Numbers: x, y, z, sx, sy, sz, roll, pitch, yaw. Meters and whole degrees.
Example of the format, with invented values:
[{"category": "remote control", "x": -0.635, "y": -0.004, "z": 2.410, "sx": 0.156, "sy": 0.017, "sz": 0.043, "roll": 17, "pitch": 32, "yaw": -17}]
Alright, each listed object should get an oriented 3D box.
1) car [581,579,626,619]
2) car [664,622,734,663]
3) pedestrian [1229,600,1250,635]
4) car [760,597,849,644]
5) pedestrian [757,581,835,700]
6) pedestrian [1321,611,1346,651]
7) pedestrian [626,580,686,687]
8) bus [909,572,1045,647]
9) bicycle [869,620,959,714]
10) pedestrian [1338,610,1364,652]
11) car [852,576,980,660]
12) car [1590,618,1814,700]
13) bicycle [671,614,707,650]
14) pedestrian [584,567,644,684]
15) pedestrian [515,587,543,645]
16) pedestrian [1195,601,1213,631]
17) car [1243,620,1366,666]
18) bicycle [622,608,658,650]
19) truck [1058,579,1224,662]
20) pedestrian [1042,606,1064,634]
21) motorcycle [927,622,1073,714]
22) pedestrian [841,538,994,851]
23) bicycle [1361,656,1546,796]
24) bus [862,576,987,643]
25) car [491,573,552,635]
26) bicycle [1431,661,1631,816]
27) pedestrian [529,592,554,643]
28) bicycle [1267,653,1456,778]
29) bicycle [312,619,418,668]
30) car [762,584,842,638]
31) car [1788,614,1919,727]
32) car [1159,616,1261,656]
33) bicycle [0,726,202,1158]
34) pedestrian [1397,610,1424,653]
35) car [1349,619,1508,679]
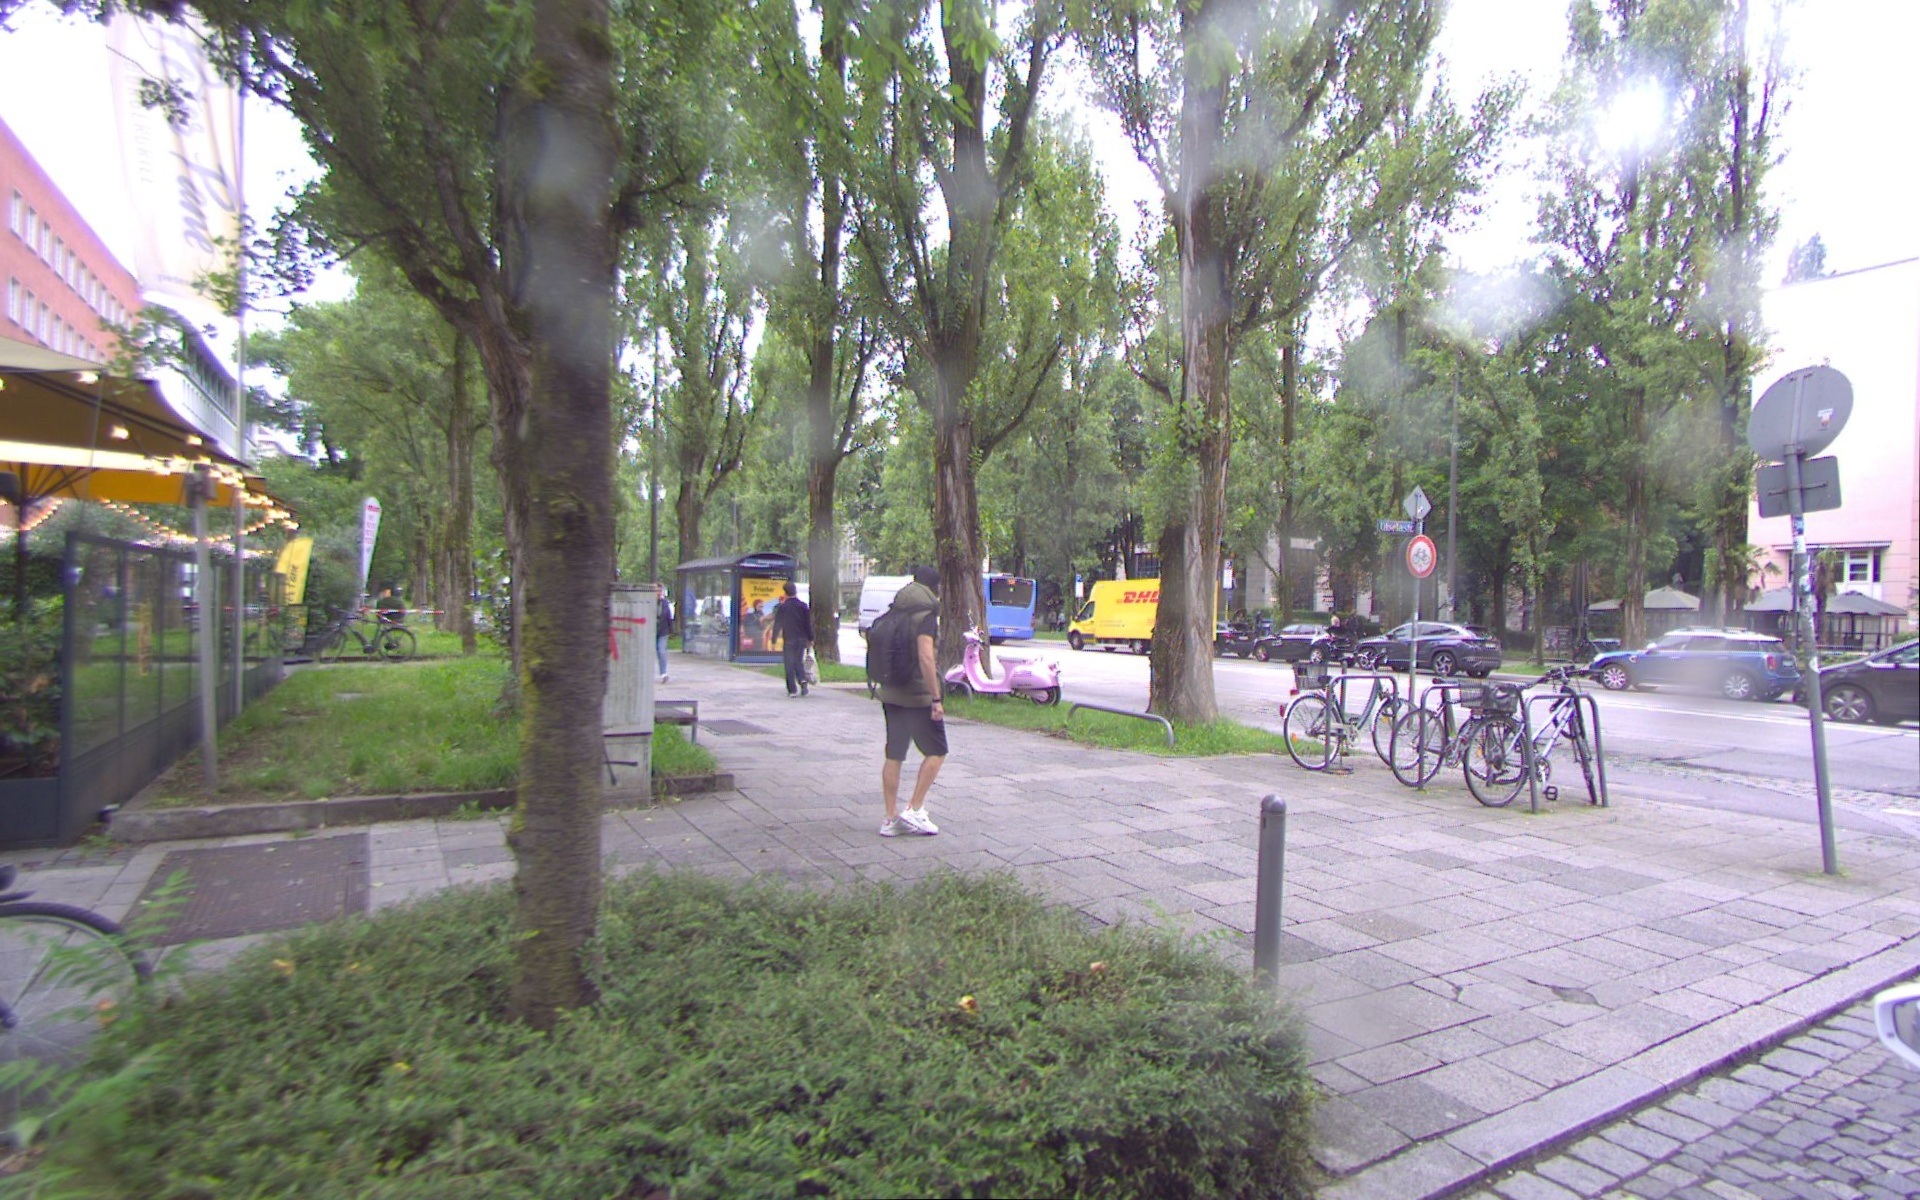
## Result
[{"category": "car", "x": -25.180, "y": -0.071, "z": 70.816, "sx": 1.988, "sy": 2.667, "sz": 5.953, "roll": 2, "pitch": 0, "yaw": -29}, {"category": "car", "x": -11.765, "y": 1.877, "z": 45.143, "sx": 1.990, "sy": 1.780, "sz": 3.967, "roll": 1, "pitch": -2, "yaw": -31}, {"category": "pedestrian", "x": 14.242, "y": 0.896, "z": 51.138, "sx": 0.700, "sy": 1.736, "sz": 0.726, "roll": 1, "pitch": -1, "yaw": -29}, {"category": "car", "x": -5.781, "y": 0.710, "z": 36.925, "sx": 1.988, "sy": 1.601, "sz": 3.970, "roll": 2, "pitch": 0, "yaw": -28}, {"category": "pedestrian", "x": -2.499, "y": 0.602, "z": 15.274, "sx": 0.849, "sy": 1.734, "sz": 0.951, "roll": 1, "pitch": -1, "yaw": -32}, {"category": "pedestrian", "x": 16.721, "y": 1.392, "z": 44.966, "sx": 0.700, "sy": 1.736, "sz": 0.726, "roll": 1, "pitch": 0, "yaw": -29}, {"category": "pedestrian", "x": -5.142, "y": 0.558, "z": 16.989, "sx": 0.634, "sy": 1.750, "sz": 0.701, "roll": 1, "pitch": 0, "yaw": 36}, {"category": "bus", "x": 0.560, "y": 0.433, "z": 45.805, "sx": 2.887, "sy": 3.092, "sz": 8.467, "roll": 1, "pitch": -1, "yaw": -24}, {"category": "bicycle", "x": -0.668, "y": 0.908, "z": 14.086, "sx": 0.576, "sy": 1.204, "sz": 1.603, "roll": 1, "pitch": 0, "yaw": -30}, {"category": "pedestrian", "x": 16.557, "y": 1.324, "z": 42.563, "sx": 0.700, "sy": 1.736, "sz": 0.726, "roll": 1, "pitch": 0, "yaw": -29}, {"category": "car", "x": -1.683, "y": 0.583, "z": 35.438, "sx": 2.022, "sy": 2.687, "sz": 5.994, "roll": 0, "pitch": 0, "yaw": -29}, {"category": "car", "x": 18.086, "y": 1.398, "z": 24.670, "sx": 1.773, "sy": 1.754, "sz": 4.044, "roll": 3, "pitch": -1, "yaw": -31}, {"category": "bicycle", "x": -8.217, "y": 0.953, "z": 30.404, "sx": 0.548, "sy": 1.036, "sz": 1.747, "roll": 1, "pitch": 0, "yaw": -32}, {"category": "pedestrian", "x": -5.878, "y": 0.419, "z": 17.064, "sx": 0.634, "sy": 1.933, "sz": 0.701, "roll": 1, "pitch": 0, "yaw": 36}, {"category": "pedestrian", "x": -13.029, "y": 0.475, "z": 30.385, "sx": 0.726, "sy": 1.715, "sz": 0.642, "roll": 1, "pitch": 0, "yaw": -26}, {"category": "pedestrian", "x": 14.124, "y": 0.921, "z": 58.115, "sx": 0.700, "sy": 1.736, "sz": 0.726, "roll": 1, "pitch": 0, "yaw": -29}, {"category": "car", "x": 11.984, "y": 1.461, "z": 35.151, "sx": 1.772, "sy": 1.431, "sz": 3.851, "roll": 1, "pitch": 0, "yaw": -29}, {"category": "bicycle", "x": -9.507, "y": 0.844, "z": 29.812, "sx": 0.576, "sy": 1.204, "sz": 2.125, "roll": 1, "pitch": 0, "yaw": -29}, {"category": "truck", "x": 6.904, "y": 0.734, "z": 39.434, "sx": 2.569, "sy": 2.946, "sz": 7.027, "roll": 2, "pitch": 0, "yaw": -28}, {"category": "pedestrian", "x": 5.924, "y": 1.266, "z": 63.835, "sx": 1.018, "sy": 1.736, "sz": 0.937, "roll": 1, "pitch": -1, "yaw": -29}, {"category": "motorcycle", "x": 0.571, "y": 0.944, "z": 14.257, "sx": 1.951, "sy": 1.212, "sz": 0.630, "roll": 1, "pitch": 0, "yaw": 17}, {"category": "pedestrian", "x": -0.278, "y": 0.548, "z": 6.213, "sx": 0.741, "sy": 1.796, "sz": 0.702, "roll": 1, "pitch": 0, "yaw": -20}, {"category": "bicycle", "x": 4.292, "y": 1.056, "z": 8.715, "sx": 1.680, "sy": 1.108, "sz": 0.488, "roll": 2, "pitch": 0, "yaw": -25}, {"category": "bus", "x": -2.068, "y": 0.471, "z": 51.699, "sx": 2.887, "sy": 3.092, "sz": 9.736, "roll": 1, "pitch": -1, "yaw": -25}, {"category": "car", "x": -23.296, "y": 0.213, "z": 53.238, "sx": 2.175, "sy": 3.057, "sz": 5.949, "roll": 1, "pitch": 0, "yaw": -31}, {"category": "bicycle", "x": 4.532, "y": 1.054, "z": 7.954, "sx": 1.680, "sy": 1.108, "sz": 0.488, "roll": 2, "pitch": 0, "yaw": -25}, {"category": "pedestrian", "x": -14.342, "y": 0.591, "z": 34.451, "sx": 0.726, "sy": 1.715, "sz": 0.642, "roll": 1, "pitch": 0, "yaw": -26}, {"category": "bicycle", "x": 3.906, "y": 1.078, "z": 9.725, "sx": 1.957, "sy": 1.108, "sz": 0.488, "roll": 2, "pitch": 0, "yaw": -25}, {"category": "bicycle", "x": -11.917, "y": 0.861, "z": 20.143, "sx": 1.782, "sy": 0.925, "sz": 0.615, "roll": 1, "pitch": 0, "yaw": -33}, {"category": "car", "x": -8.077, "y": 0.519, "z": 50.911, "sx": 2.058, "sy": 2.590, "sz": 5.884, "roll": 0, "pitch": 0, "yaw": -30}, {"category": "car", "x": 16.337, "y": 1.179, "z": 15.758, "sx": 1.976, "sy": 1.745, "sz": 4.779, "roll": 3, "pitch": -1, "yaw": -29}, {"category": "car", "x": 9.764, "y": 1.380, "z": 39.484, "sx": 1.772, "sy": 1.431, "sz": 3.851, "roll": 1, "pitch": 0, "yaw": -29}, {"category": "bicycle", "x": -3.047, "y": 0.904, "z": 2.534, "sx": 1.743, "sy": 1.036, "sz": 0.549, "roll": 1, "pitch": 0, "yaw": -32}, {"category": "pedestrian", "x": 18.370, "y": 1.272, "z": 40.955, "sx": 0.700, "sy": 1.736, "sz": 0.726, "roll": 1, "pitch": 0, "yaw": -29}, {"category": "car", "x": 14.288, "y": 1.442, "z": 30.859, "sx": 1.772, "sy": 1.622, "sz": 4.204, "roll": 1, "pitch": 0, "yaw": -29}]
